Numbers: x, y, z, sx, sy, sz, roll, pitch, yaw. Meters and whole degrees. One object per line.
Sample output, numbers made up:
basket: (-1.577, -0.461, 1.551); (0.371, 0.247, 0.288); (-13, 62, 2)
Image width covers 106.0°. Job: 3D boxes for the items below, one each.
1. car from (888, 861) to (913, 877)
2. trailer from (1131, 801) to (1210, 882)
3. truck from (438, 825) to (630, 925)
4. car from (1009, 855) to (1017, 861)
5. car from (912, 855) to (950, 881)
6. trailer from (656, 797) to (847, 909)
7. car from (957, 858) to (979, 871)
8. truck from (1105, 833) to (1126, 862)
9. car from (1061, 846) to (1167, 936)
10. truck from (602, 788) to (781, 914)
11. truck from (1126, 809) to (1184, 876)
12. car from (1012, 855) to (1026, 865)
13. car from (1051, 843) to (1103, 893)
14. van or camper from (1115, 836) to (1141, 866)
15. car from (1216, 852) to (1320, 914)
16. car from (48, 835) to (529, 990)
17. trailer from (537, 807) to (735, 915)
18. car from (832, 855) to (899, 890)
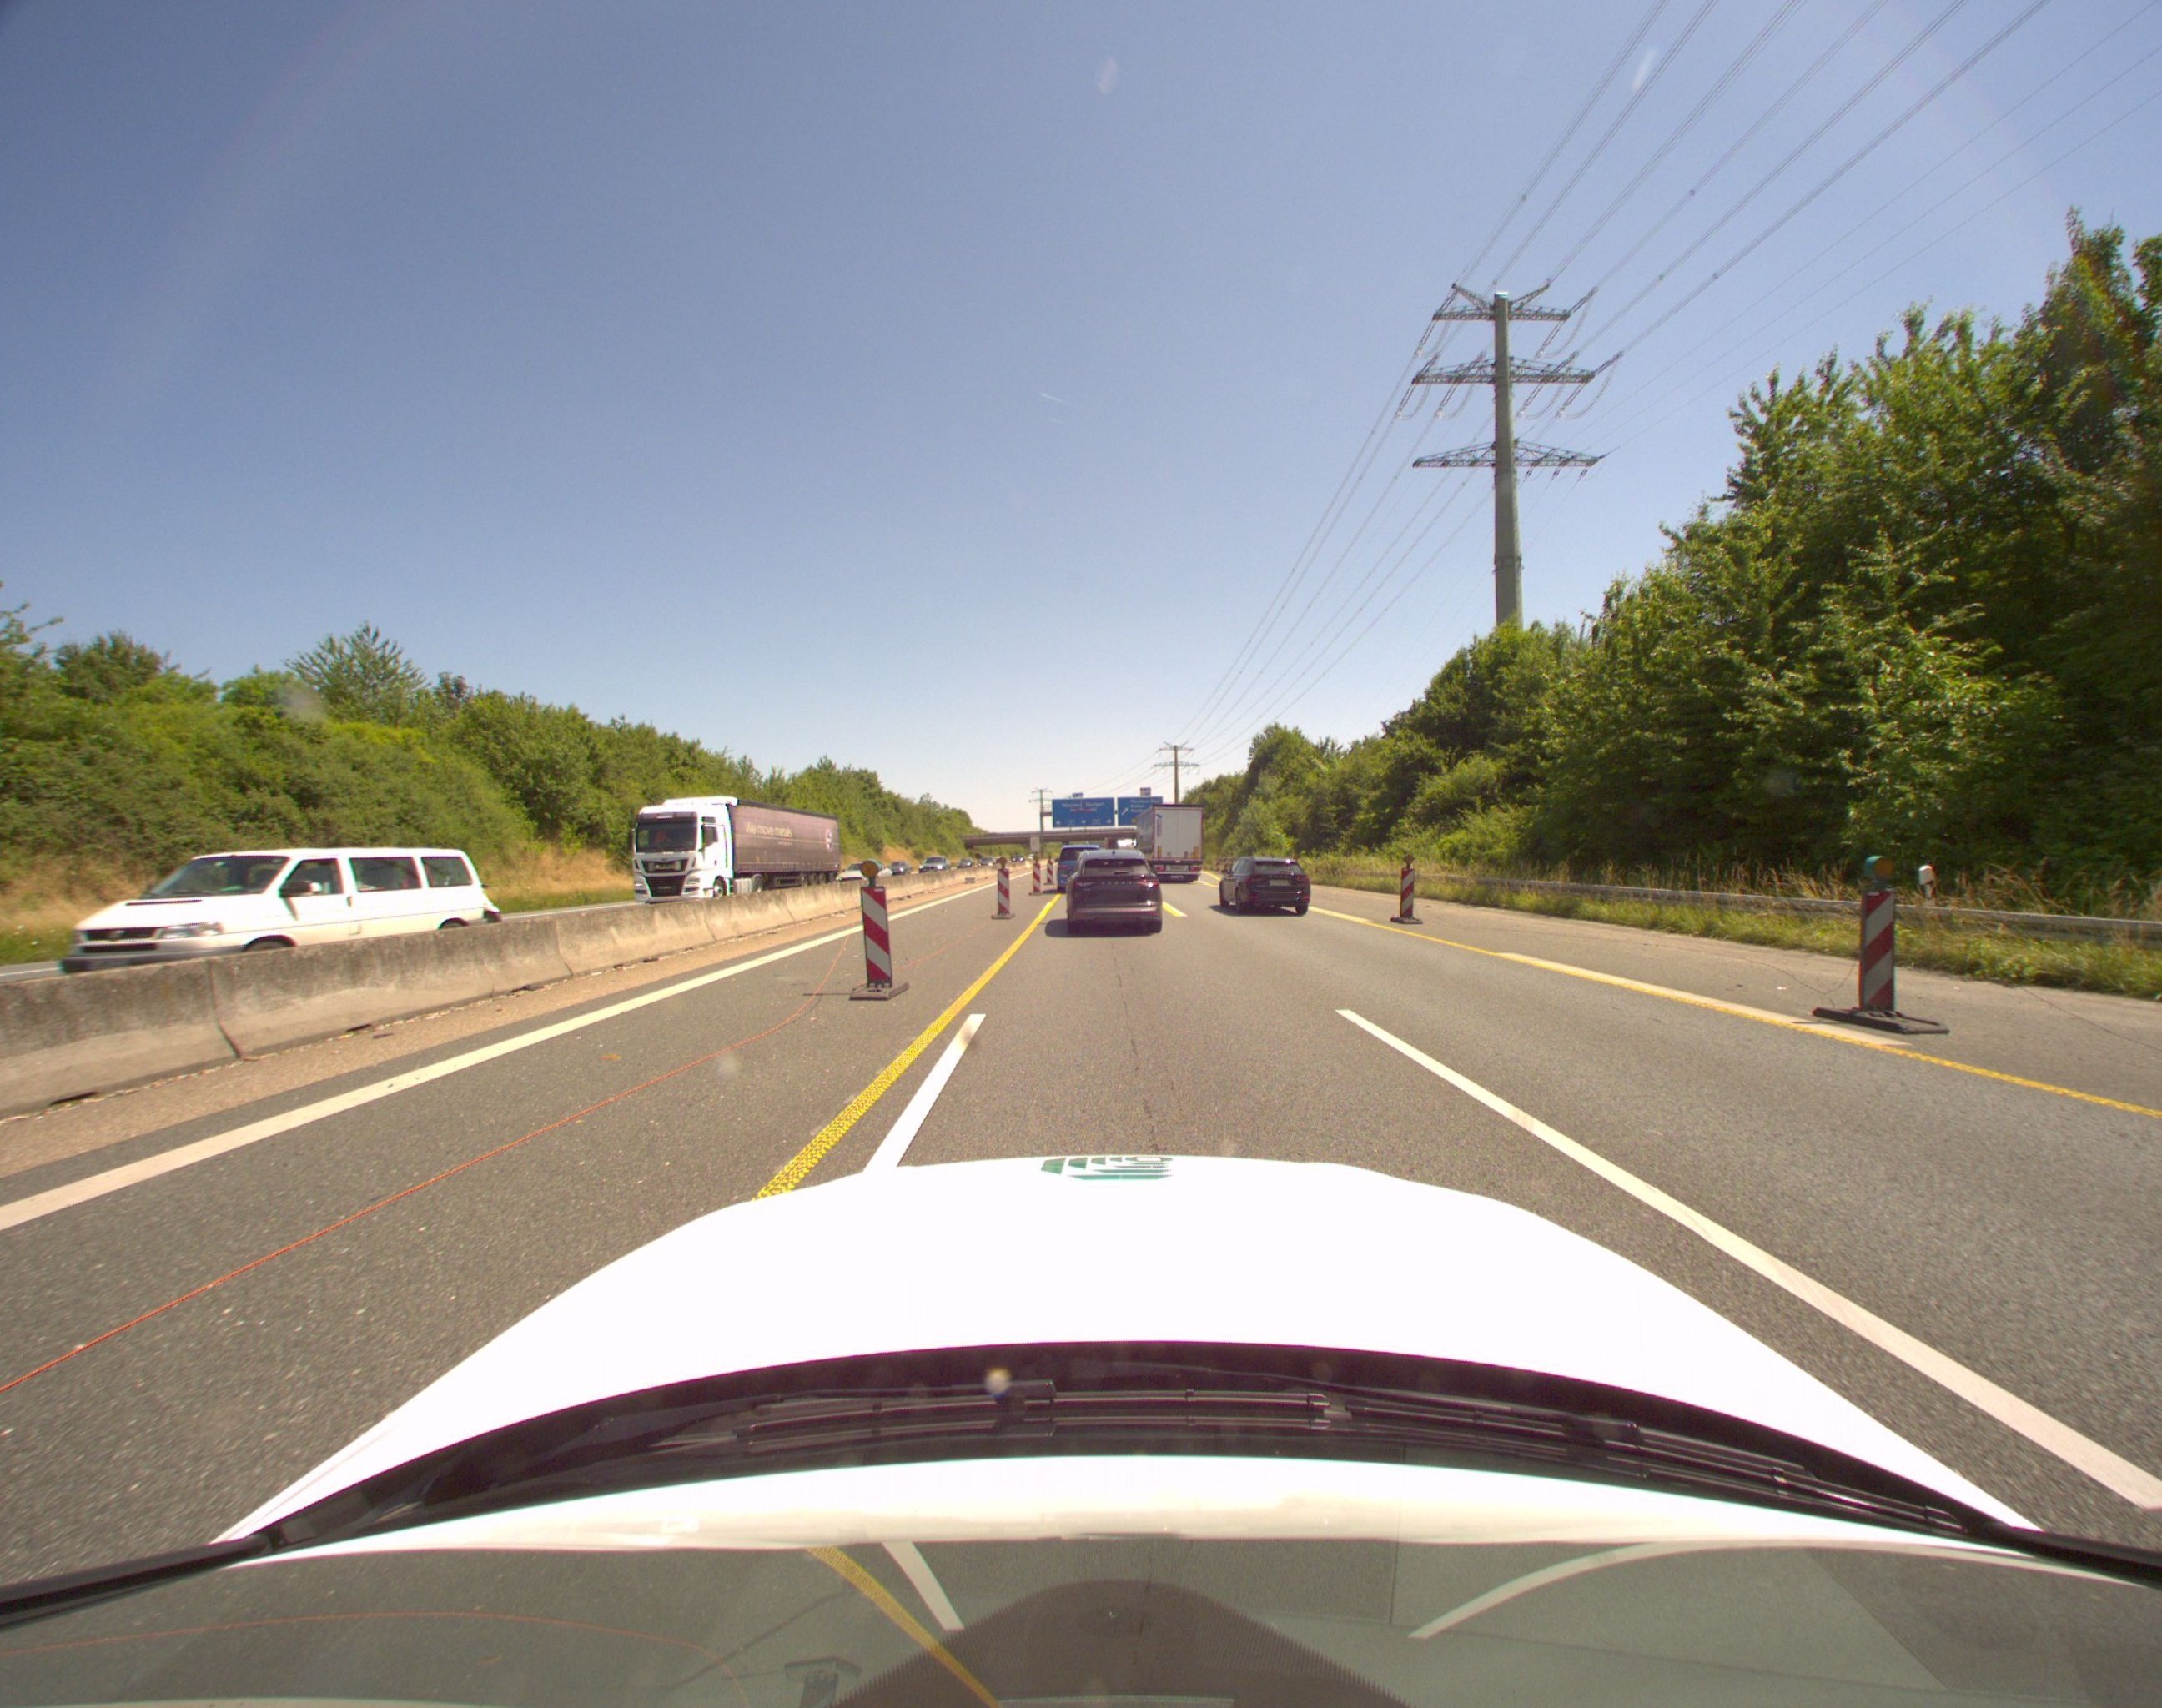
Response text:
car: (-16.854, 1.374, 76.278); (1.499, 1.396, 4.086); (-2, 0, -2)
trailer: (4.821, -0.646, 46.446); (3.056, 4.042, 11.483); (-1, 0, -1)
truck: (-20.214, 0.697, 30.709); (2.456, 3.288, 6.924); (-2, 0, 0)
car: (-16.947, 0.982, 203.843); (1.494, 1.548, 4.001); (-2, 0, 1)
car: (-10.869, 0.979, 59.245); (1.835, 1.714, 4.397); (-2, 0, 1)
trailer: (-14.594, -0.053, 38.054); (3.150, 4.180, 13.683); (-2, 0, 0)
car: (-14.246, 1.303, 102.667); (1.986, 1.460, 4.589); (-2, 0, 2)
truck: (5.368, -0.963, 126.892); (3.066, 4.146, 13.059); (0, 0, 2)
car: (0.587, 0.653, 17.001); (1.890, 1.592, 4.441); (-1, 0, 0)
truck: (-14.648, -0.098, 31.455); (3.153, 4.224, 7.415); (-1, 0, 1)
truck: (4.727, -0.715, 53.449); (3.016, 4.087, 7.792); (0, 0, -1)
car: (-10.021, 0.948, 132.587); (1.843, 1.460, 4.488); (-2, 0, 0)
car: (-0.181, 0.540, 33.212); (1.890, 1.841, 4.440); (2, 0, -1)
van or camper: (5.061, -0.330, 89.037); (2.577, 2.968, 6.087); (2, 0, 2)
car: (4.860, 0.704, 21.792); (1.773, 1.489, 4.464); (0, 0, 0)
car: (-11.270, 0.691, 12.411); (1.860, 1.792, 5.456); (-2, 0, 1)
trailer: (-20.164, 0.278, 38.239); (2.472, 4.180, 12.084); (-2, 0, 0)
car: (-10.133, 0.839, 38.740); (1.755, 1.471, 4.636); (-2, 0, 2)
